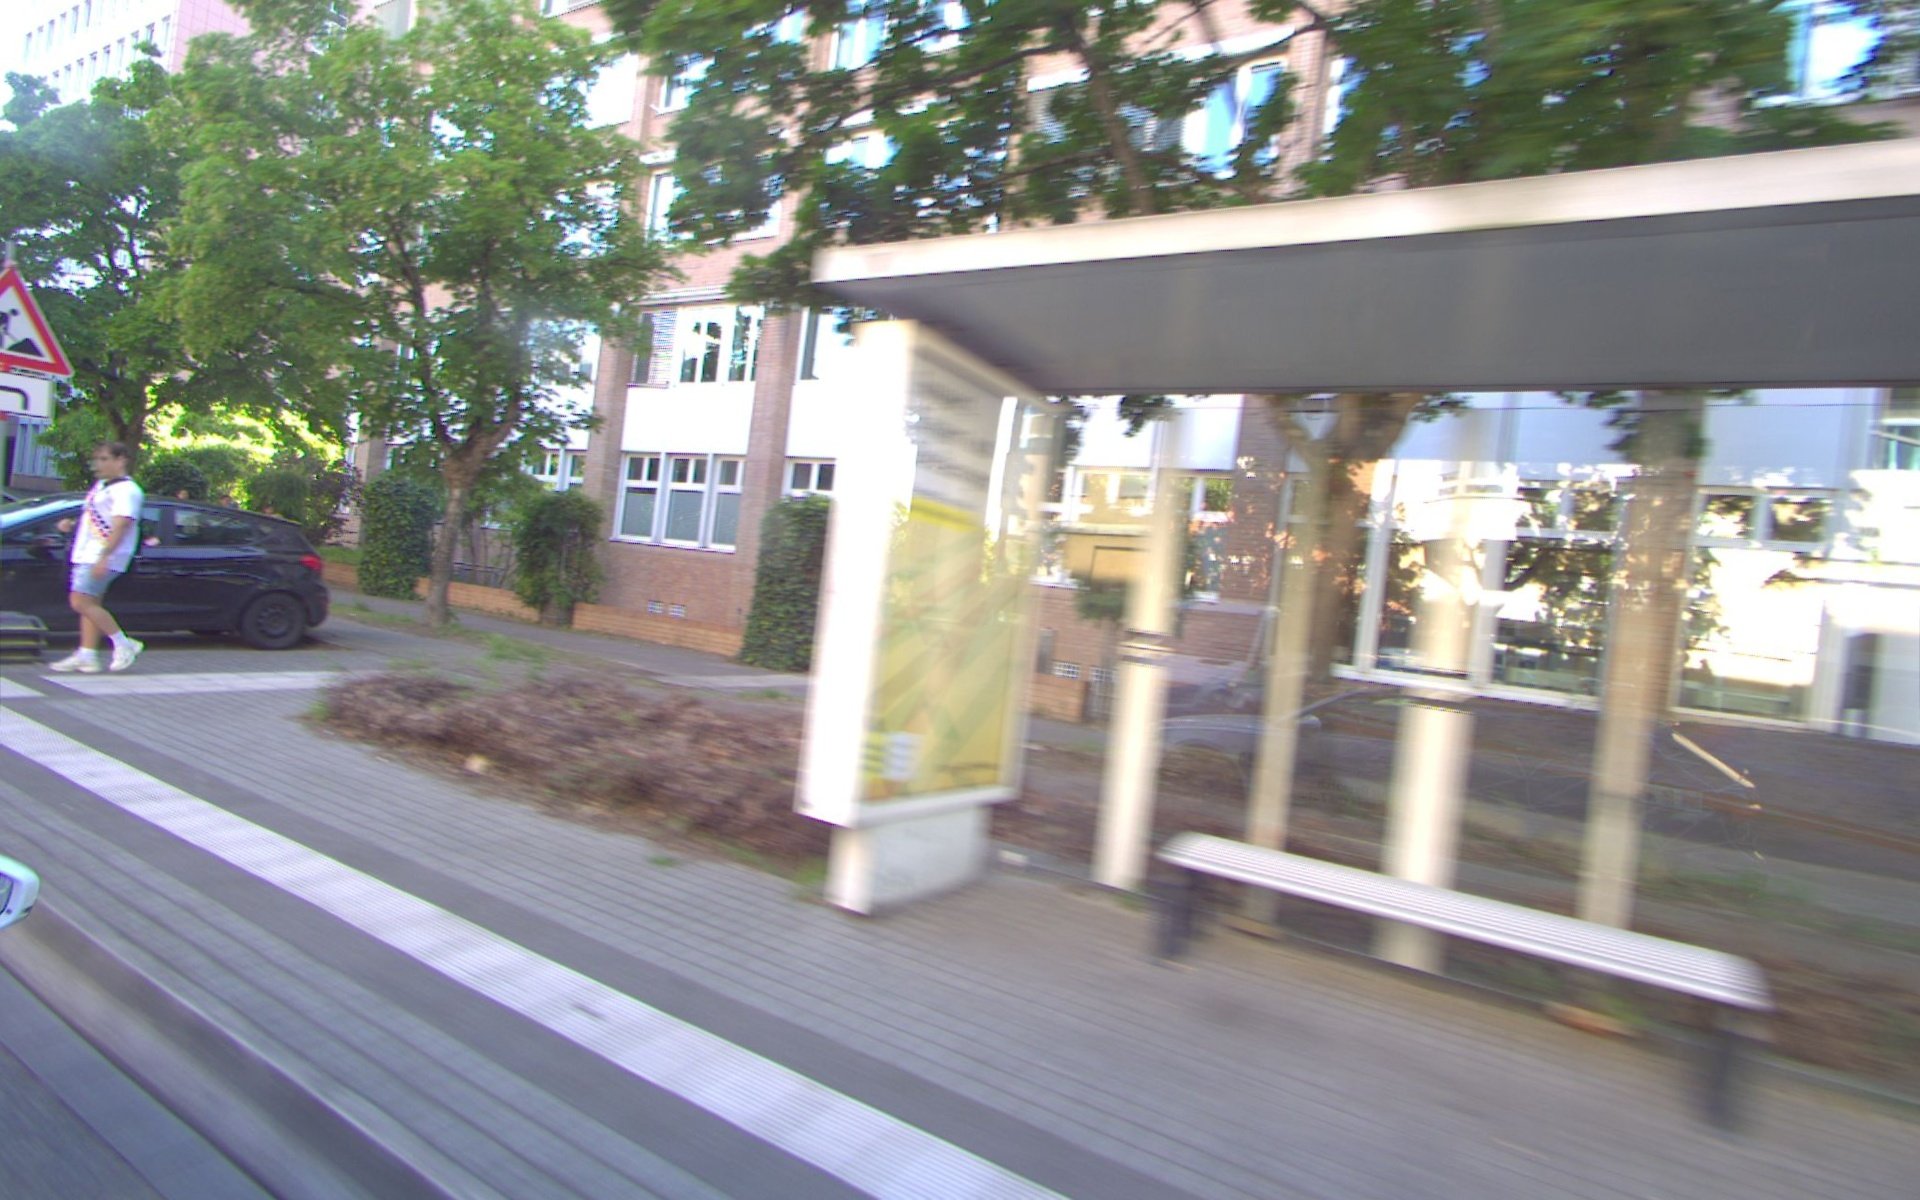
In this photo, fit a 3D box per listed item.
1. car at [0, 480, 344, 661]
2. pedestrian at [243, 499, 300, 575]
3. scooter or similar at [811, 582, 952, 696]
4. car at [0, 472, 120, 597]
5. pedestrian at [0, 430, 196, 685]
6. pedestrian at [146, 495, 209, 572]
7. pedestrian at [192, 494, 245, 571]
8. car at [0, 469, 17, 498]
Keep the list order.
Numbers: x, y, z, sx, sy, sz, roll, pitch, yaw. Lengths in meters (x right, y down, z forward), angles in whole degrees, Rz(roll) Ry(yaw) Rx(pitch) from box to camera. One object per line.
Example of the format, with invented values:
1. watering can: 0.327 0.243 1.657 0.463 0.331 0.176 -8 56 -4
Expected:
1. car: -8.411 -0.304 9.545 1.744 1.456 3.942 7 -1 29
2. pedestrian: -15.298 -1.385 22.364 0.549 1.572 0.757 7 1 29
3. scooter or similar: -1.099 0.532 13.971 1.774 1.341 0.550 7 -1 27
4. car: -14.342 -1.099 13.394 1.905 1.617 4.363 7 -1 25
5. pedestrian: -6.452 -0.308 7.492 0.685 1.734 0.919 7 3 18
6. pedestrian: -16.140 -1.366 20.762 0.703 1.476 0.701 7 1 29
7. pedestrian: -15.840 -1.429 21.498 0.584 1.540 0.603 7 1 29
8. car: -64.877 -7.987 65.803 1.965 1.803 4.085 7 -3 27
